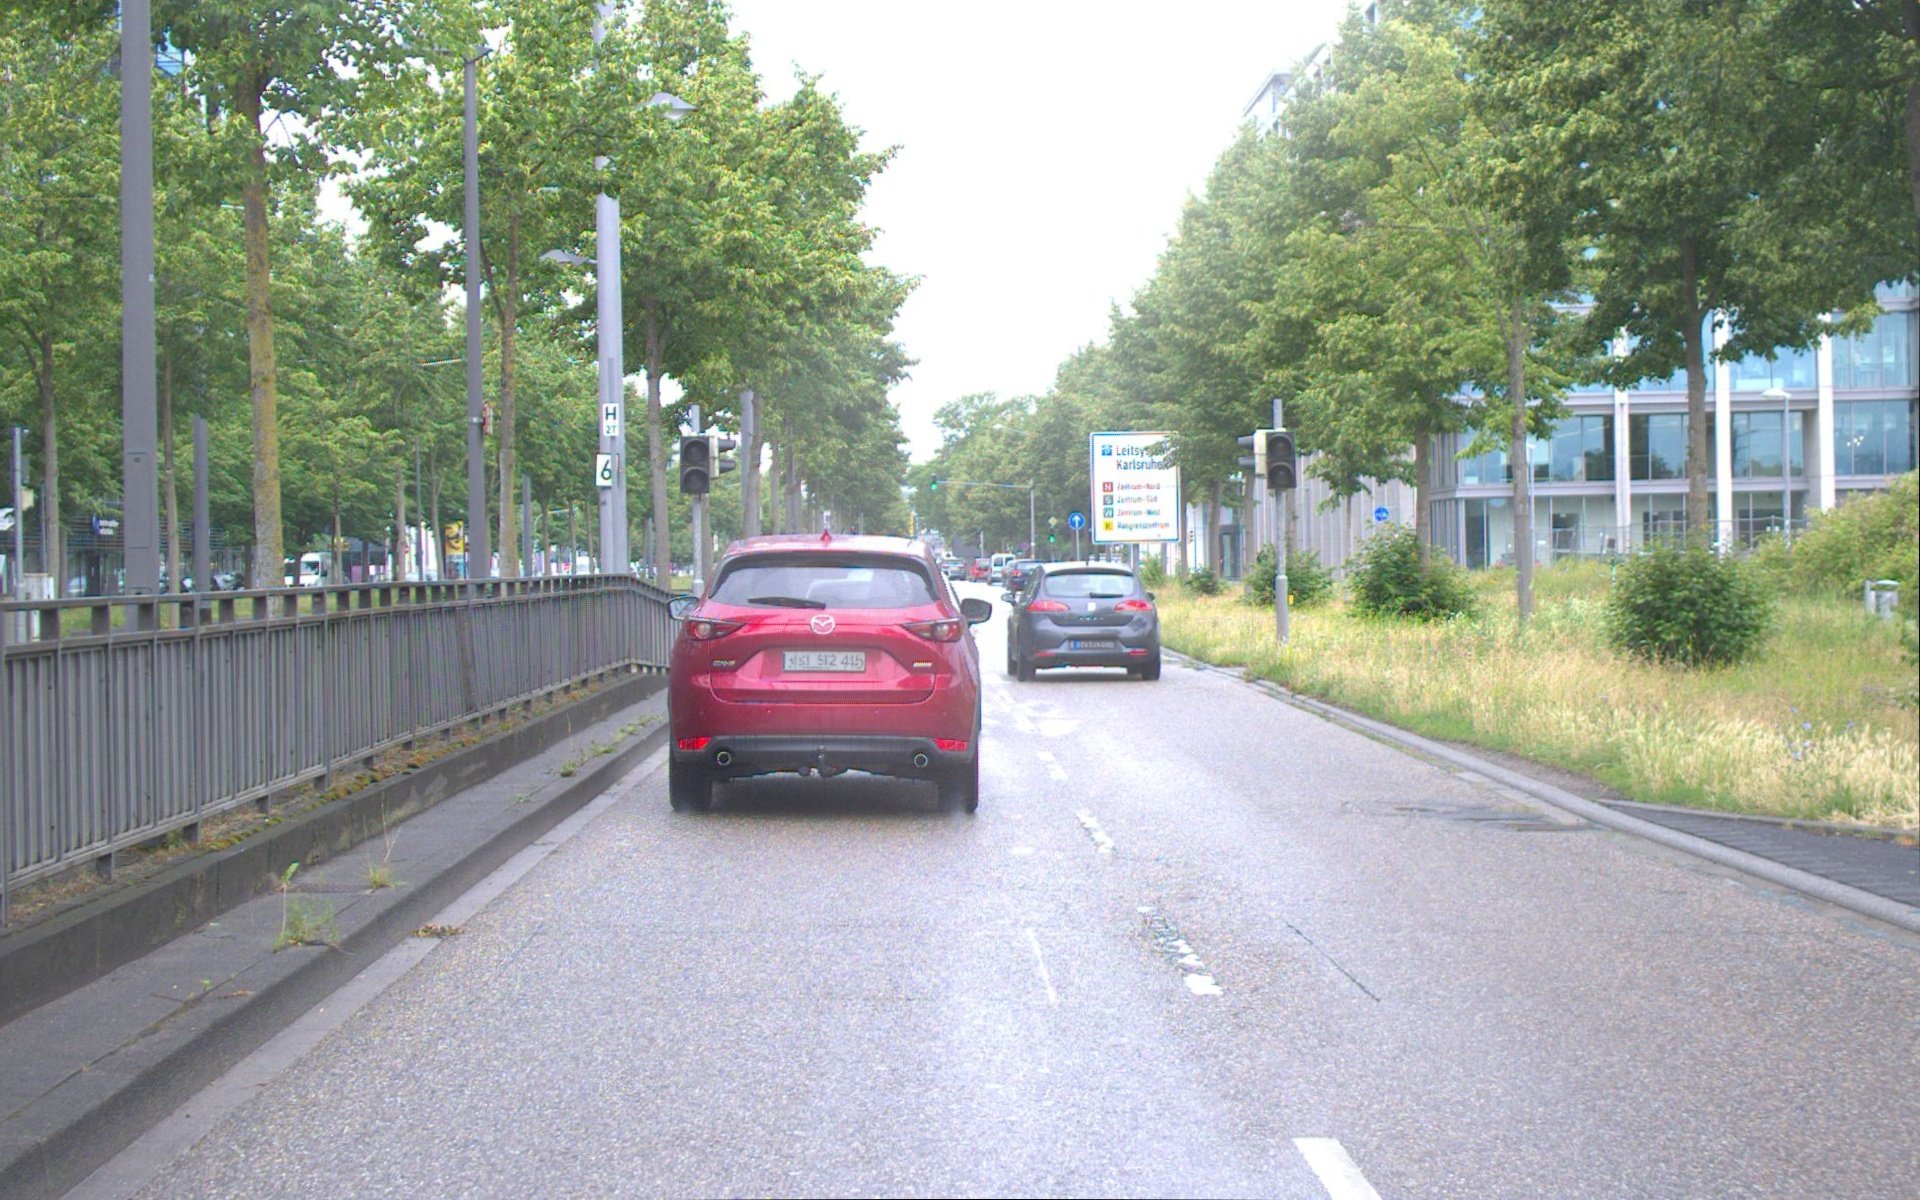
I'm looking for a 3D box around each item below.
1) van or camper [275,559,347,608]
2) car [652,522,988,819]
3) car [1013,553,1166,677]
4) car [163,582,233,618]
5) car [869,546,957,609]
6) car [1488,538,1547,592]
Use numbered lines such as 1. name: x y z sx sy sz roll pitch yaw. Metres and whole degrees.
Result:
1. van or camper: -31.265 -0.805 165.709 2.433 2.307 5.850 -1 1 -1
2. car: -0.843 0.374 21.505 1.898 1.671 4.000 0 1 -1
3. car: 1.566 0.154 42.772 1.743 1.460 3.781 0 1 0
4. car: -30.821 -0.017 139.102 1.993 1.374 4.000 -1 1 -1
5. car: -1.144 -0.539 81.619 1.967 1.432 4.553 1 1 -2
6. car: 19.627 -1.219 121.104 1.855 1.576 3.998 0 -4 6
